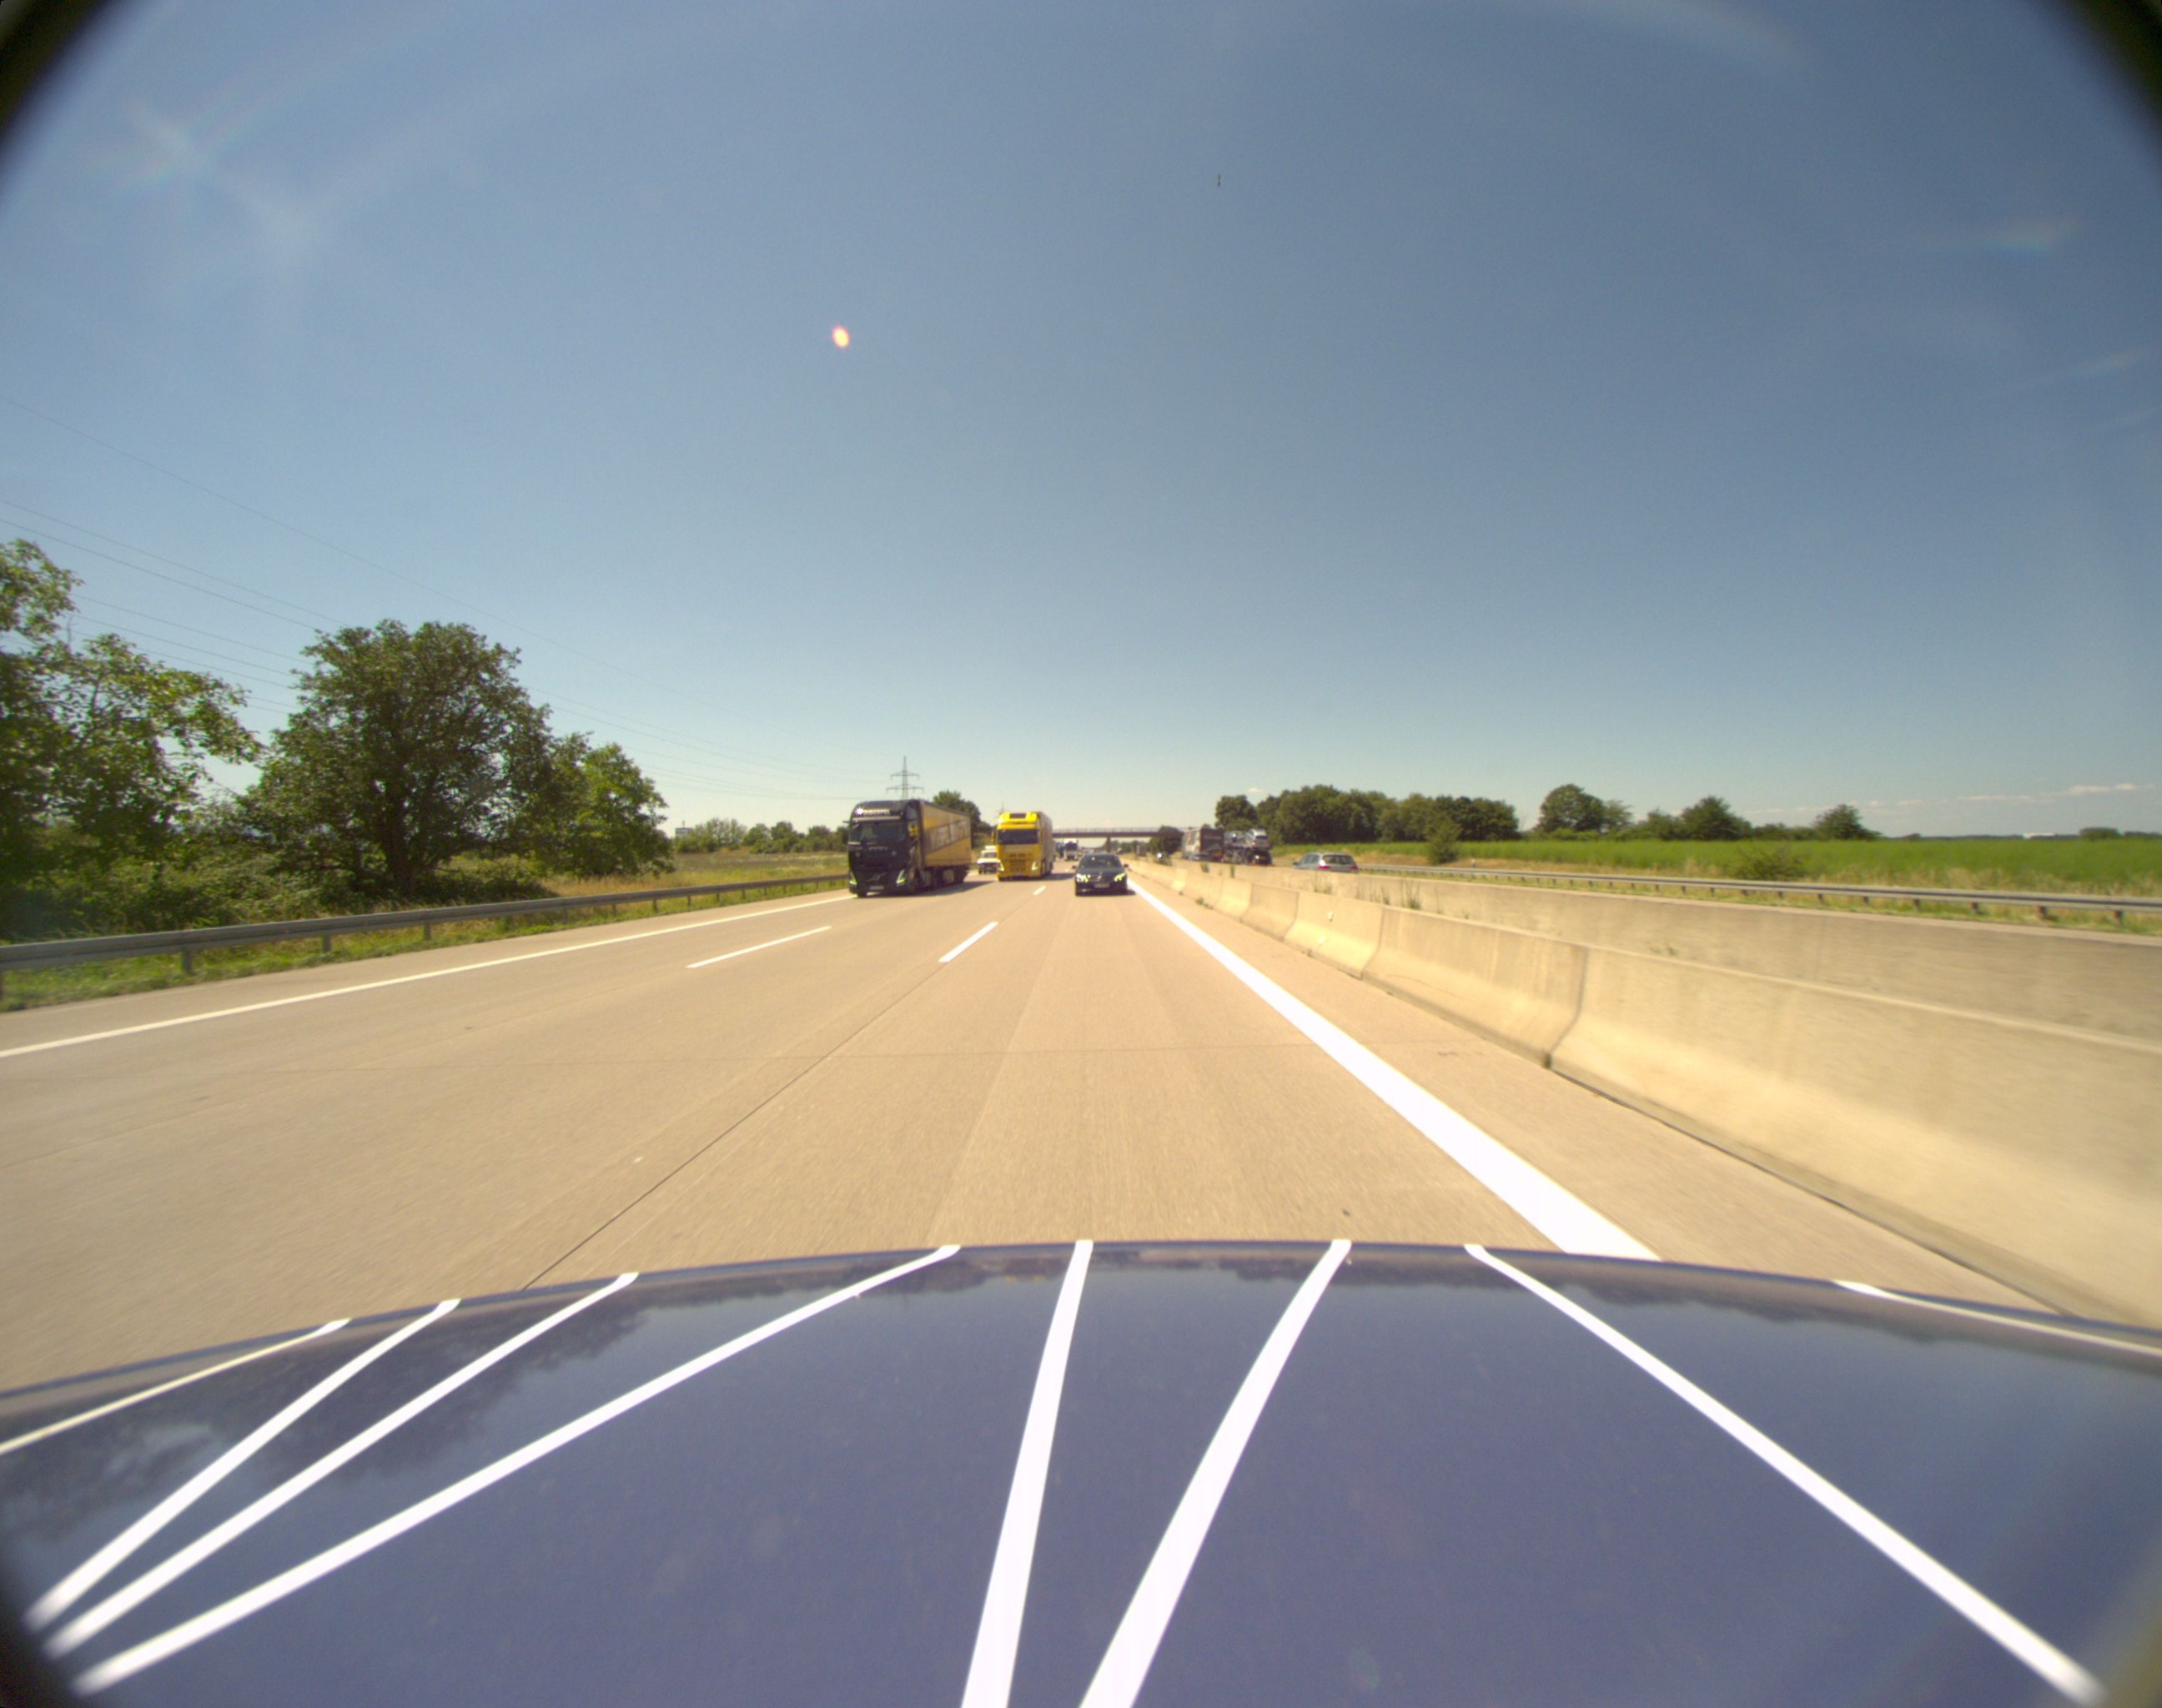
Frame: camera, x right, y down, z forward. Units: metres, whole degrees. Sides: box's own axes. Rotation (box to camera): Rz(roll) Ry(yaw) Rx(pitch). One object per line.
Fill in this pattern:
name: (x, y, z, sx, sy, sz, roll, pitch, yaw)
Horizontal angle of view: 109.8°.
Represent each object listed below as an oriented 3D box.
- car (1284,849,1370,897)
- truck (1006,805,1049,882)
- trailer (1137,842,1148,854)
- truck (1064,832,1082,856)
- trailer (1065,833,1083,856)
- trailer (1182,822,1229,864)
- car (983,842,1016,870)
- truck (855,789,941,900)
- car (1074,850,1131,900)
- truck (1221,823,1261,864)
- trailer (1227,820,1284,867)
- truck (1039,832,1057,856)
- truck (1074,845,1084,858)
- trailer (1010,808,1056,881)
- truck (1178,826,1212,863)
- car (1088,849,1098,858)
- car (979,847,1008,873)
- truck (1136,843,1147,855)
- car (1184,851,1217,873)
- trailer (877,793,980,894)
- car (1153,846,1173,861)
car: (9.598, 0.673, 30.039, 1.887, 1.685, 4.682, -2, 1, 1)
truck: (-3.075, -0.619, 44.969, 1.998, 4.230, 5.194, -2, 1, 0)
trailer: (20.806, -2.047, 257.051, 2.989, 4.066, 11.604, 1, 1, 1)
truck: (-1.402, -1.816, 141.004, 2.959, 4.122, 6.151, -2, 1, 1)
trailer: (-1.350, -1.788, 145.547, 2.959, 4.122, 12.025, -2, 1, 1)
trailer: (14.138, -1.231, 87.866, 3.276, 4.450, 14.450, 0, 1, 1)
car: (-7.145, 0.134, 67.423, 2.139, 2.334, 5.515, -2, 1, 1)
truck: (-7.537, -0.396, 31.947, 1.998, 4.169, 5.705, -2, 1, 1)
car: (0.752, 0.701, 27.581, 1.848, 1.576, 3.939, -2, 1, 1)
truck: (18.589, -1.209, 88.464, 3.239, 4.580, 6.250, -2, 1, 1)
trailer: (18.492, -1.113, 81.416, 3.239, 4.580, 12.292, -2, 1, 1)
truck: (-5.911, -1.705, 136.252, 2.960, 4.122, 6.151, -2, 1, -1)
truck: (-0.668, -0.955, 260.658, 2.959, 4.122, 10.016, -2, 1, 1)
trailer: (-3.048, -0.614, 52.346, 1.998, 4.230, 15.198, -2, 1, 0)
truck: (14.149, -1.172, 94.632, 3.276, 4.450, 7.189, 0, 1, 1)
car: (2.453, -0.167, 157.093, 1.998, 1.781, 4.301, -2, 1, 1)
car: (-7.190, 0.488, 62.757, 1.788, 2.002, 3.819, -2, 1, 1)
truck: (20.886, -1.809, 262.608, 2.989, 4.066, 6.465, 1, 1, 1)
car: (9.697, 0.619, 62.097, 1.909, 1.641, 4.933, -2, 1, 1)
trailer: (-7.419, -0.501, 39.441, 1.998, 4.168, 14.745, -2, 1, 1)
car: (10.226, -0.032, 95.503, 1.998, 1.772, 4.743, -2, 1, 1)
